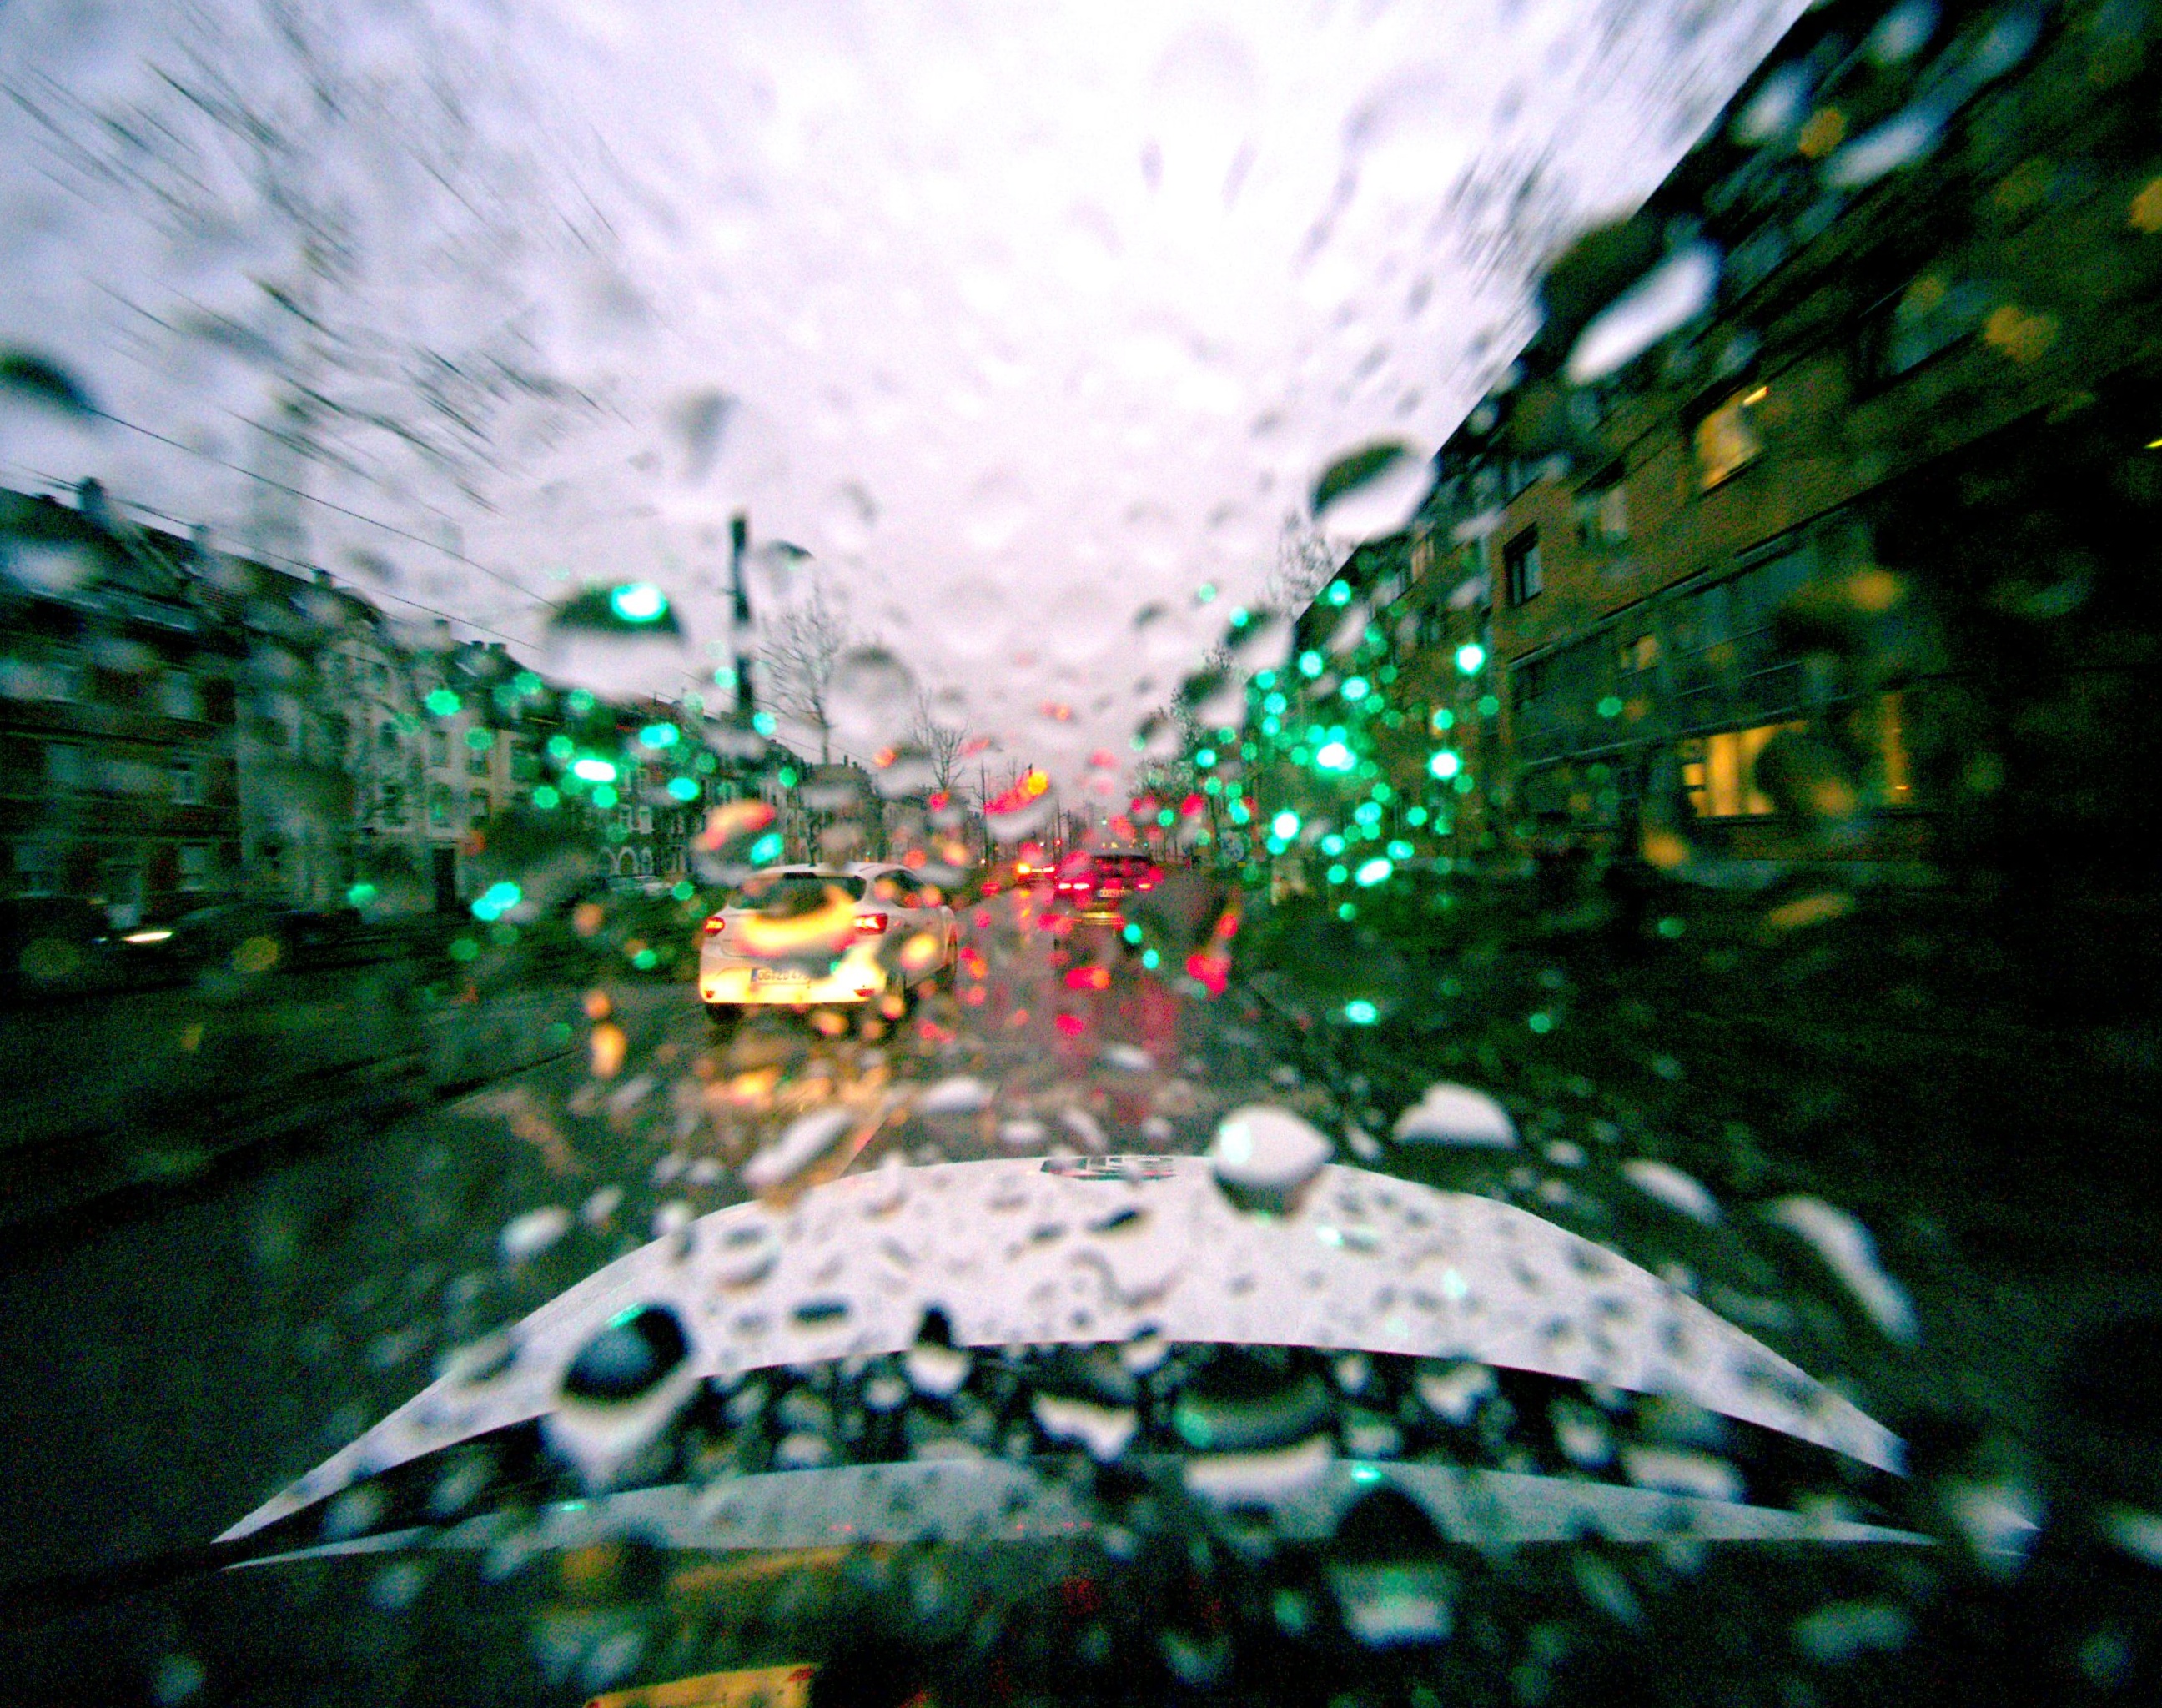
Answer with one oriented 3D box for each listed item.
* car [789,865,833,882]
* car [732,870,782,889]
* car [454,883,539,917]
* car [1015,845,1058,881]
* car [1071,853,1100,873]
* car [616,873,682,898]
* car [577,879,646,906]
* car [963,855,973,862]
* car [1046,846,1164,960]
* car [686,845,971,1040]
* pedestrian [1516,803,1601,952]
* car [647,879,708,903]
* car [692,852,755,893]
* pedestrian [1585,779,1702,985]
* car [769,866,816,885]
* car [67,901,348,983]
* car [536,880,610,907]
[{"bbox_3d":[-25.306,1.816,76.224,3.948,1.332,2.013,-3,0,39],"label":"car"},{"bbox_3d":[-26.449,2.098,66.457,3.948,1.332,2.013,-3,0,39],"label":"car"},{"bbox_3d":[-26.265,2.059,36.558,3.948,1.332,2.013,-3,0,37],"label":"car"},{"bbox_3d":[-2.097,0.424,39.555,1.665,1.600,4.055,-1,0,2],"label":"car"},{"bbox_3d":[0.367,0.629,59.548,1.986,1.298,3.481,-3,0,2],"label":"car"},{"bbox_3d":[-26.533,1.952,49.999,3.948,1.332,2.013,-3,0,36],"label":"car"},{"bbox_3d":[-26.881,2.202,46.624,3.948,1.332,2.013,-3,0,37],"label":"car"},{"bbox_3d":[-25.252,1.047,182.254,1.770,1.354,3.557,-3,0,1],"label":"car"},{"bbox_3d":[0.421,0.704,13.794,1.665,1.600,4.055,-1,0,2],"label":"car"},{"bbox_3d":[-2.398,0.743,8.851,1.665,1.600,4.055,-1,0,2],"label":"car"},{"bbox_3d":[5.826,0.281,9.954,0.507,1.742,0.651,-3,0,-31],"label":"pedestrian"},{"bbox_3d":[-26.366,2.421,53.193,3.948,1.332,2.013,-3,0,39],"label":"car"},{"bbox_3d":[-26.540,1.424,60.348,5.793,2.797,2.012,-3,0,43],"label":"car"},{"bbox_3d":[5.240,0.245,7.605,0.506,1.824,0.652,-3,0,-24],"label":"pedestrian"},{"bbox_3d":[-25.950,1.913,73.136,3.948,1.486,2.013,-3,0,36],"label":"car"},{"bbox_3d":[-21.656,2.098,20.568,1.857,1.453,4.701,-3,0,2],"label":"car"},{"bbox_3d":[-25.754,2.018,41.240,3.948,1.169,2.013,-3,0,40],"label":"car"}]
